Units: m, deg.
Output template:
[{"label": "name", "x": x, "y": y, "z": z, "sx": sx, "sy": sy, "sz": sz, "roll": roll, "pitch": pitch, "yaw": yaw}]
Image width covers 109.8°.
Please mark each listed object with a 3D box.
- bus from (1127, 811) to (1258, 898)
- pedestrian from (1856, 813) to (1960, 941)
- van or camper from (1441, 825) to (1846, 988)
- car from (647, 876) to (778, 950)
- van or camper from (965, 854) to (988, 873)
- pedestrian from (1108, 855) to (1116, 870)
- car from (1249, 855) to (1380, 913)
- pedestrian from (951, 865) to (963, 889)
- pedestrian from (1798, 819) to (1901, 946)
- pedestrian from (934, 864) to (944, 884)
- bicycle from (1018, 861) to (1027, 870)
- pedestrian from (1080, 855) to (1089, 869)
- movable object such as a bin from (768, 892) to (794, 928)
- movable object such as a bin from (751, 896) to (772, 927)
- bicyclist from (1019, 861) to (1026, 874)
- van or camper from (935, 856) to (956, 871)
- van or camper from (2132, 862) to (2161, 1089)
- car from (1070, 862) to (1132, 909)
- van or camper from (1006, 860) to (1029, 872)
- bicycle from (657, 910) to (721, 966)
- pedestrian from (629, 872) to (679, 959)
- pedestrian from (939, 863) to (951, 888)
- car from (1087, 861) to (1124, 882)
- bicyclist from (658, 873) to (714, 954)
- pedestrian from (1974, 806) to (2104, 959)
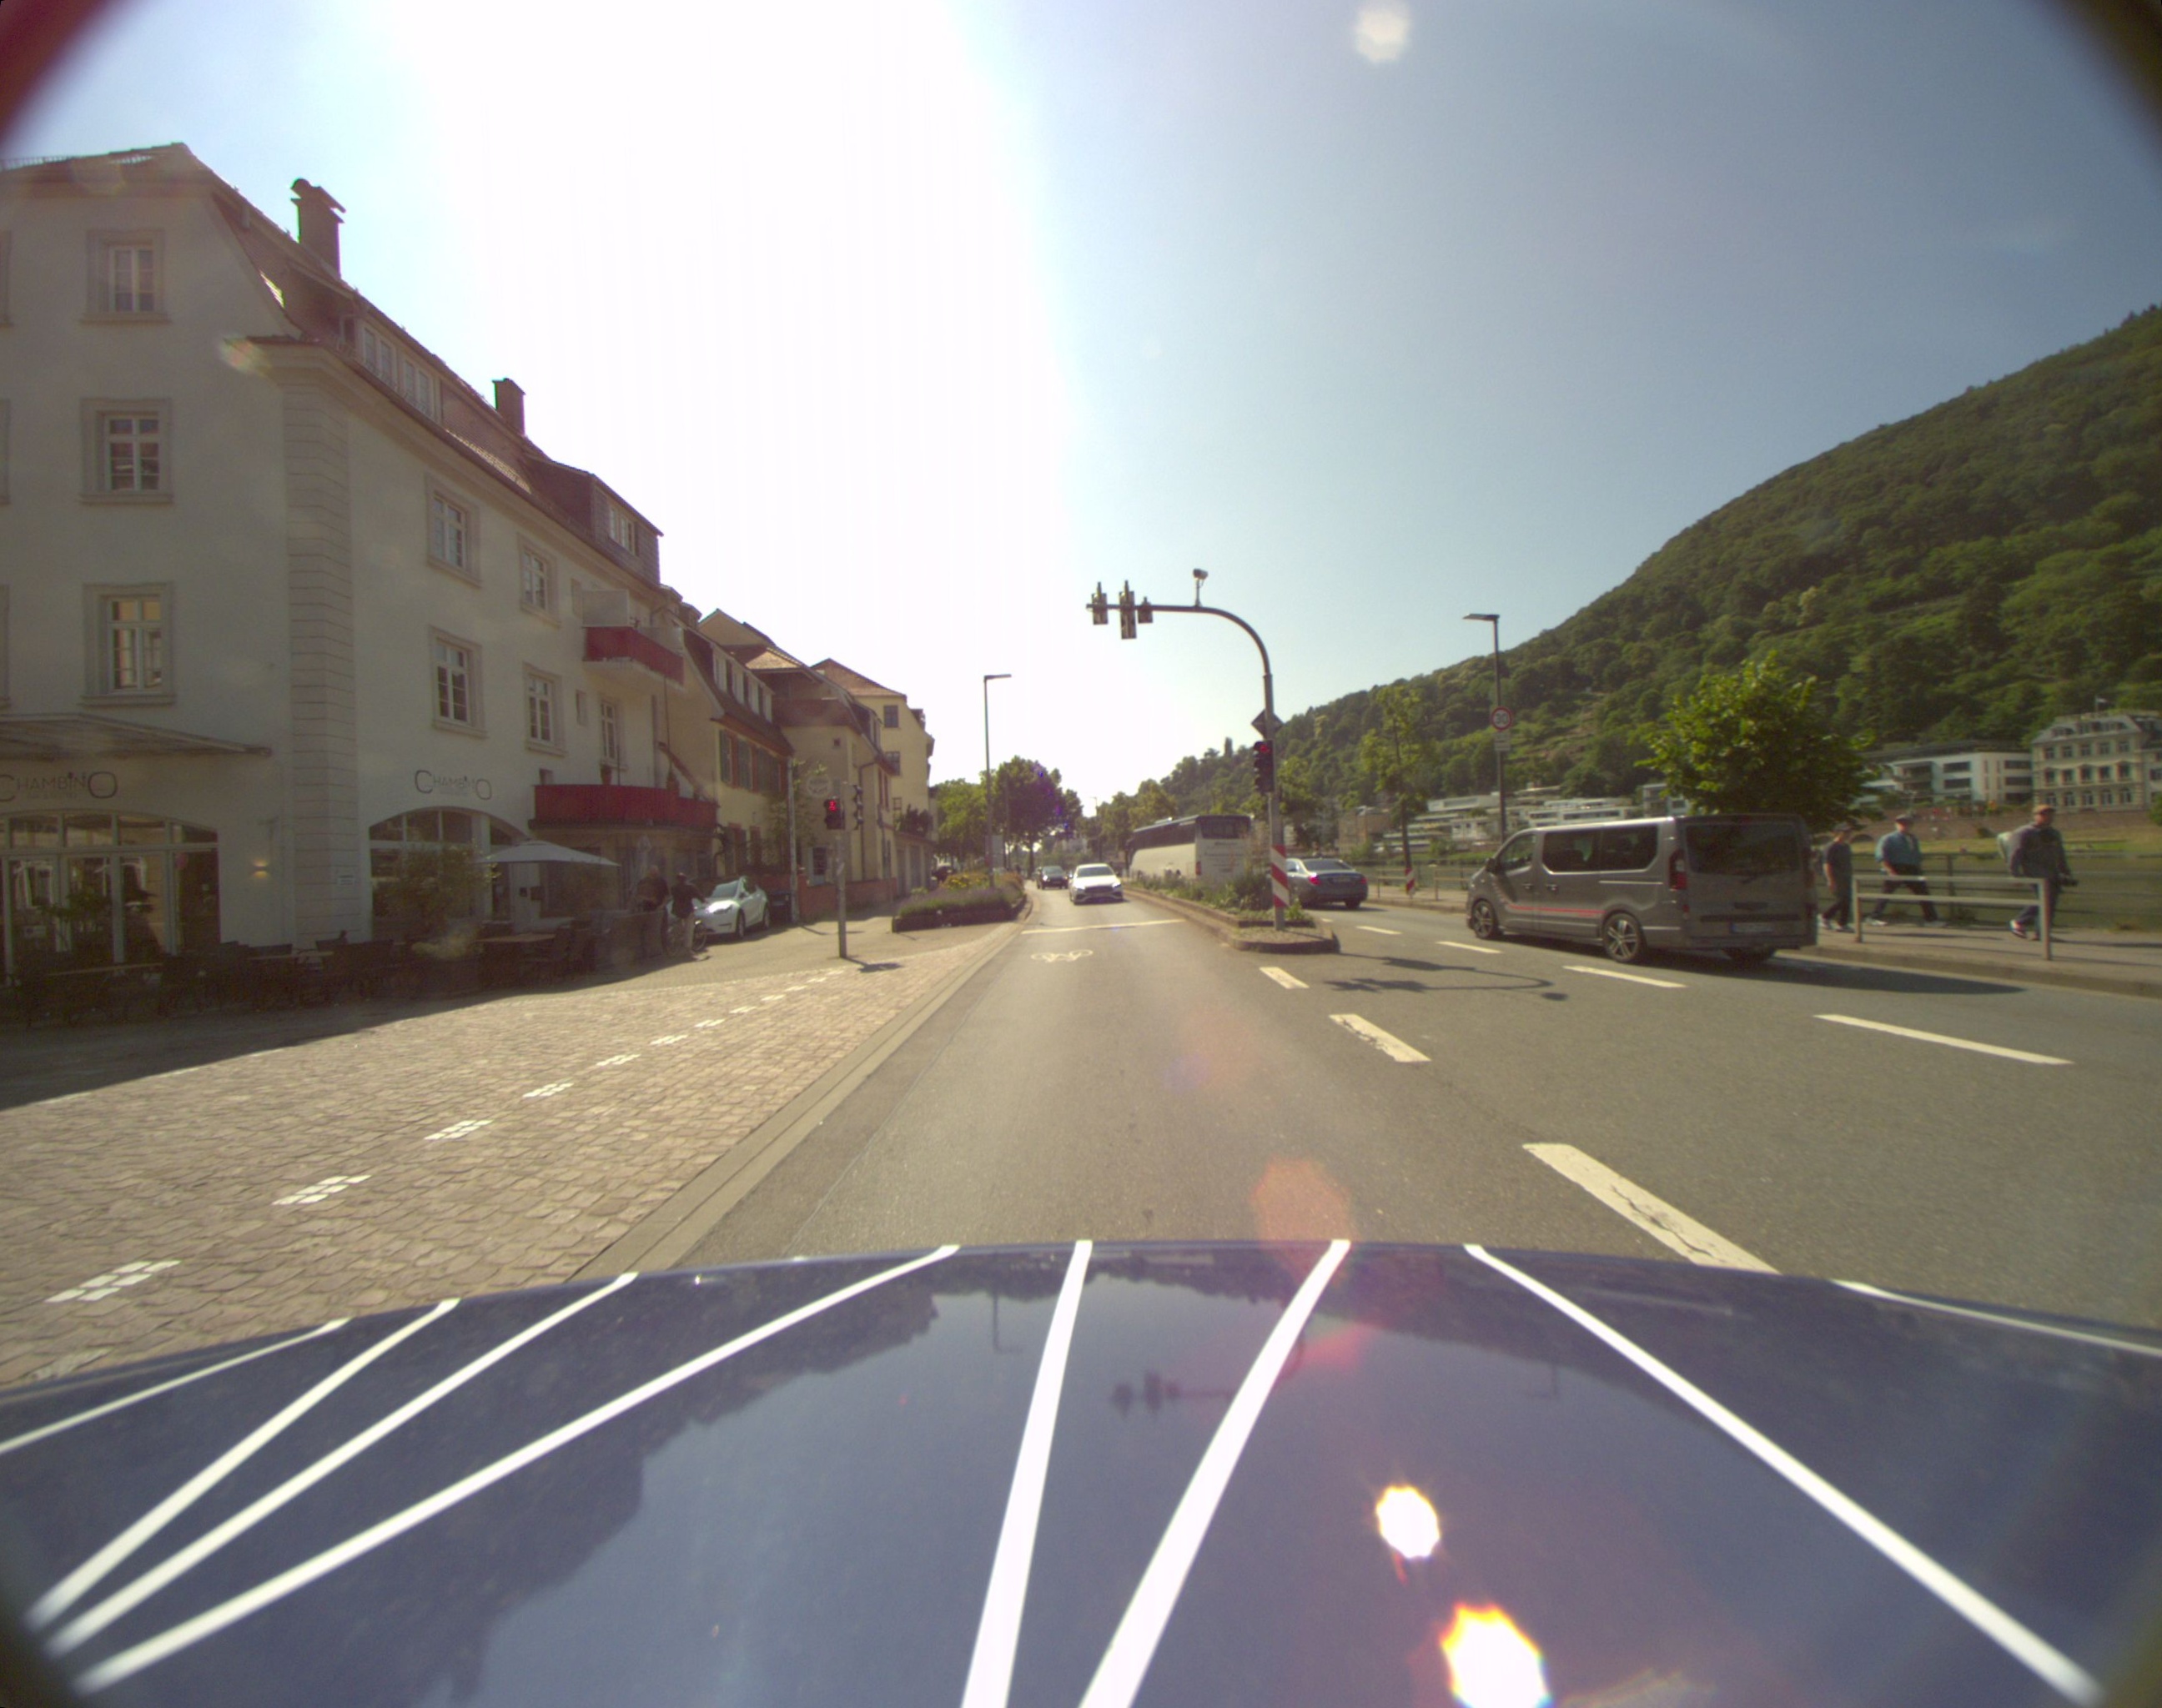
[{"label": "bus", "x": 5.089, "y": 0.007, "z": 38.185, "sx": 2.640, "sy": 3.543, "sz": 12.971, "roll": -2, "pitch": 0, "yaw": -9}, {"label": "pedestrian", "x": 12.635, "y": 0.336, "z": 11.628, "sx": 0.764, "sy": 1.847, "sz": 0.695, "roll": -4, "pitch": 1, "yaw": -9}, {"label": "van or camper", "x": 7.841, "y": 0.615, "z": 11.480, "sx": 1.999, "sy": 1.862, "sz": 5.177, "roll": -1, "pitch": 0, "yaw": -4}, {"label": "car", "x": -9.619, "y": 1.455, "z": 20.273, "sx": 1.884, "sy": 1.568, "sz": 4.723, "roll": -2, "pitch": 0, "yaw": -10}, {"label": "van or camper", "x": -14.885, "y": 1.292, "z": 107.866, "sx": 2.095, "sy": 2.542, "sz": 7.082, "roll": -2, "pitch": 0, "yaw": -16}, {"label": "pedestrian", "x": 3.411, "y": 0.945, "z": 83.225, "sx": 0.696, "sy": 1.606, "sz": 0.663, "roll": -2, "pitch": 0, "yaw": -10}, {"label": "car", "x": 6.972, "y": 0.847, "z": 23.393, "sx": 2.000, "sy": 1.589, "sz": 5.154, "roll": 1, "pitch": 0, "yaw": -6}, {"label": "pedestrian", "x": -8.543, "y": 1.584, "z": 52.241, "sx": 0.764, "sy": 1.586, "sz": 0.695, "roll": -2, "pitch": 0, "yaw": -9}, {"label": "pedestrian", "x": 11.532, "y": 0.414, "z": 11.420, "sx": 0.764, "sy": 1.794, "sz": 0.695, "roll": -4, "pitch": 1, "yaw": -9}, {"label": "pedestrian", "x": -12.253, "y": 1.728, "z": 65.583, "sx": 0.764, "sy": 1.703, "sz": 0.695, "roll": 1, "pitch": 0, "yaw": -14}, {"label": "bicycle", "x": -7.658, "y": 1.478, "z": 99.230, "sx": 0.714, "sy": 1.161, "sz": 1.894, "roll": -3, "pitch": -1, "yaw": -15}, {"label": "pedestrian", "x": 0.400, "y": 0.912, "z": 88.568, "sx": 0.759, "sy": 1.672, "sz": 0.657, "roll": -2, "pitch": 1, "yaw": -15}, {"label": "movable object such as a bin", "x": -9.408, "y": 1.756, "z": 23.819, "sx": 0.642, "sy": 1.061, "sz": 0.364, "roll": -2, "pitch": 0, "yaw": -1}, {"label": "movable object such as a bin", "x": -10.001, "y": 1.802, "z": 23.791, "sx": 0.496, "sy": 0.938, "sz": 0.320, "roll": -2, "pitch": 0, "yaw": -1}, {"label": "bicyclist", "x": -7.656, "y": 1.750, "z": 99.251, "sx": 0.743, "sy": 1.657, "sz": 1.088, "roll": -2, "pitch": -1, "yaw": -15}, {"label": "van or camper", "x": -21.811, "y": 1.577, "z": 122.343, "sx": 2.441, "sy": 2.271, "sz": 6.195, "roll": -2, "pitch": 0, "yaw": -18}, {"label": "van or camper", "x": 8.082, "y": 0.784, "z": 2.557, "sx": 1.999, "sy": 1.468, "sz": 5.063, "roll": -1, "pitch": 0, "yaw": -3}, {"label": "car", "x": 0.653, "y": 1.100, "z": 28.186, "sx": 1.876, "sy": 1.416, "sz": 4.743, "roll": -4, "pitch": 0, "yaw": -3}, {"label": "van or camper", "x": -7.792, "y": 1.446, "z": 92.977, "sx": 2.001, "sy": 1.446, "sz": 4.676, "roll": -2, "pitch": 0, "yaw": -15}, {"label": "bicycle", "x": -8.202, "y": 1.732, "z": 15.981, "sx": 0.752, "sy": 0.958, "sz": 1.780, "roll": -3, "pitch": 0, "yaw": -13}, {"label": "pedestrian", "x": -9.242, "y": 1.309, "z": 16.469, "sx": 0.764, "sy": 1.847, "sz": 0.609, "roll": 0, "pitch": 0, "yaw": -9}, {"label": "pedestrian", "x": -9.343, "y": 1.453, "z": 52.109, "sx": 0.740, "sy": 1.688, "sz": 0.933, "roll": -1, "pitch": 0, "yaw": -9}, {"label": "car", "x": 1.733, "y": 1.282, "z": 55.678, "sx": 1.823, "sy": 1.421, "sz": 4.189, "roll": -1, "pitch": -1, "yaw": -10}, {"label": "bicyclist", "x": -8.186, "y": 1.213, "z": 15.800, "sx": 0.769, "sy": 1.574, "sz": 1.088, "roll": -2, "pitch": 0, "yaw": -15}, {"label": "pedestrian", "x": 12.350, "y": 0.356, "z": 9.817, "sx": 0.764, "sy": 1.847, "sz": 0.695, "roll": -4, "pitch": 1, "yaw": -9}]
